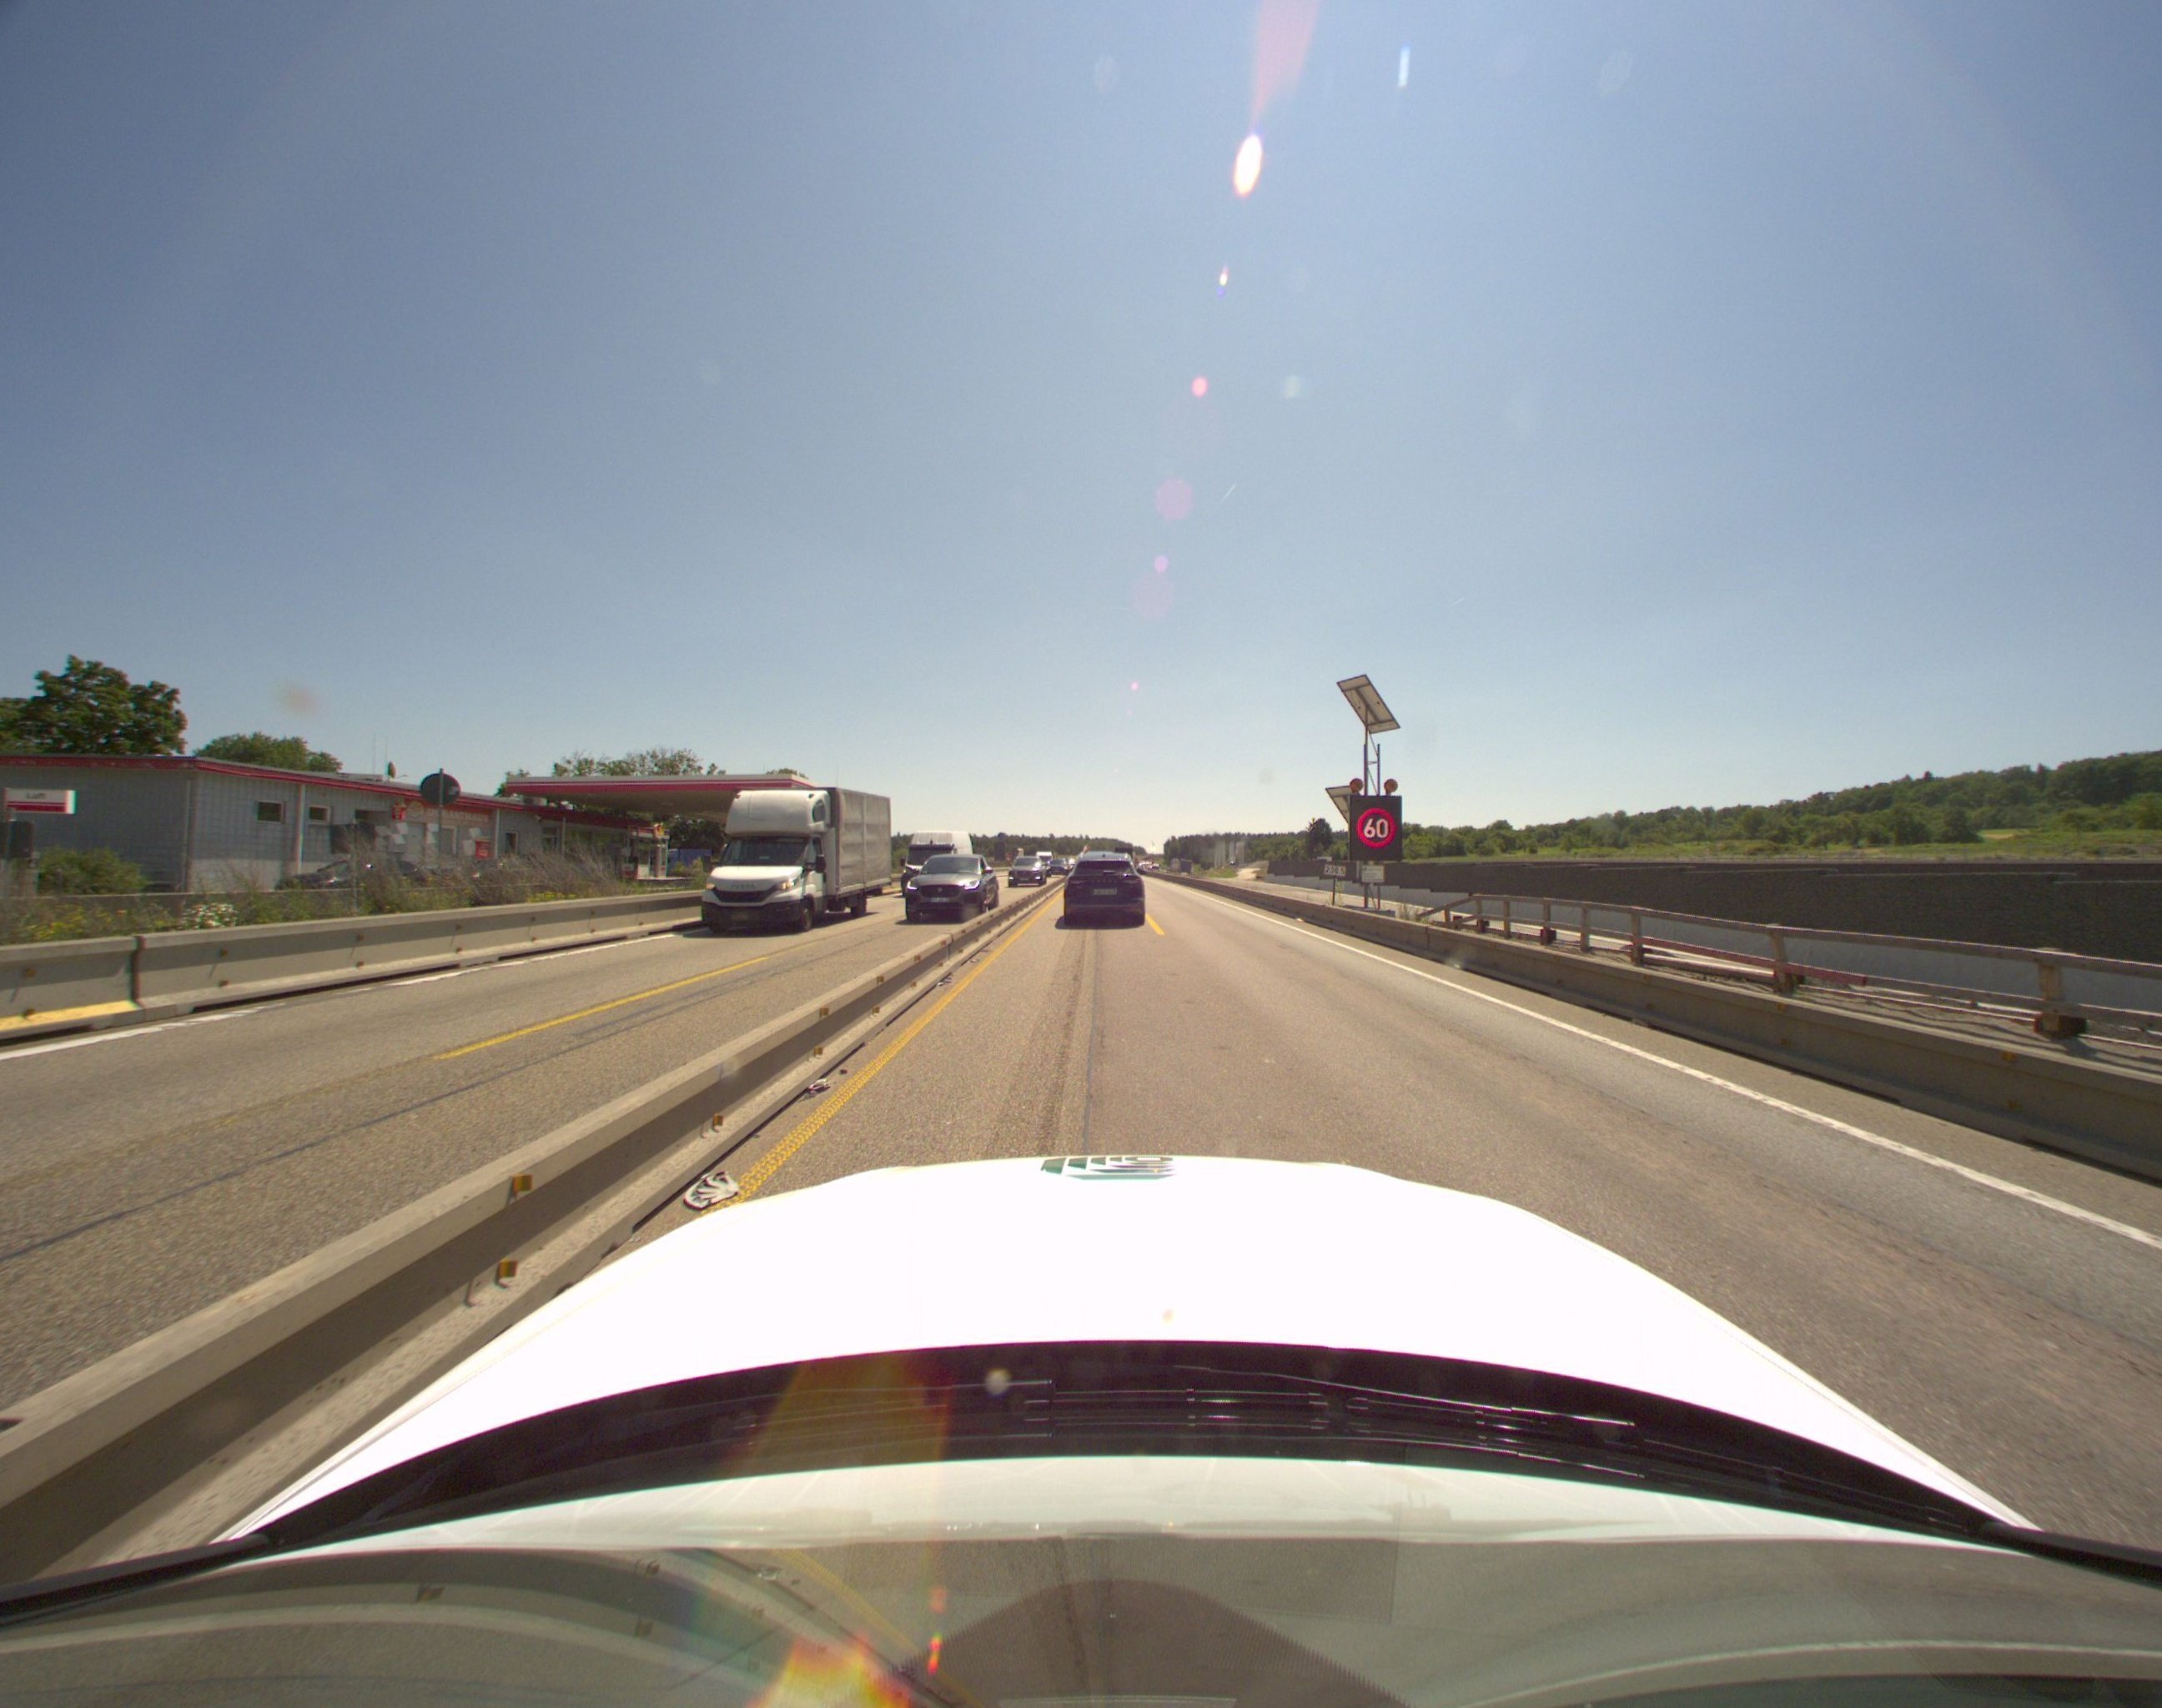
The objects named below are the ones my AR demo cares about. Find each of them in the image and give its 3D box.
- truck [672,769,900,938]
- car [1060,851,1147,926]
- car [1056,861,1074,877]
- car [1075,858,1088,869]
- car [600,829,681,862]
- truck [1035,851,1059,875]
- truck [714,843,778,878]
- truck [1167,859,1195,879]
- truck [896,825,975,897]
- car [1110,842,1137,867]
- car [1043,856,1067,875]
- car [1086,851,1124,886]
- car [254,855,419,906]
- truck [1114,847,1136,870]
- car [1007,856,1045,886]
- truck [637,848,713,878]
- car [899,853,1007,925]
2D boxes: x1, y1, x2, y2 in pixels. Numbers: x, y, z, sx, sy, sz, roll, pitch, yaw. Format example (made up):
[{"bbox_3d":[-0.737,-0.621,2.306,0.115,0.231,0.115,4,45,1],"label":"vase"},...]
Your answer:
[{"bbox_3d":[-6.653,-0.022,19.956,2.486,3.292,8.118,0,0,1],"label":"truck"},{"bbox_3d":[0.554,0.734,19.324,1.835,1.582,4.002,-1,0,2],"label":"car"},{"bbox_3d":[-1.817,1.689,93.854,1.900,1.804,5.082,0,0,1],"label":"car"},{"bbox_3d":[0.160,1.427,125.371,1.897,1.608,4.001,0,0,1],"label":"car"},{"bbox_3d":[-24.691,-0.449,45.838,1.745,1.410,4.318,12,0,3],"label":"car"},{"bbox_3d":[-4.257,1.178,102.498,2.471,2.824,8.130,0,-1,1],"label":"truck"},{"bbox_3d":[-39.351,0.836,95.806,3.120,3.985,6.385,-1,-1,28],"label":"truck"},{"bbox_3d":[24.174,3.679,196.657,3.445,4.220,10.431,5,-1,24],"label":"truck"},{"bbox_3d":[-6.102,0.286,35.038,2.232,2.786,6.491,0,0,0],"label":"truck"},{"bbox_3d":[7.588,0.154,144.552,3.416,4.101,9.221,4,-1,10],"label":"car"},{"bbox_3d":[-2.219,0.977,71.223,1.838,1.641,4.001,0,0,1],"label":"car"},{"bbox_3d":[1.338,0.827,46.500,1.987,1.844,3.999,2,-1,0],"label":"car"},{"bbox_3d":[-24.396,0.821,26.889,1.640,1.355,4.001,4,1,1],"label":"car"},{"bbox_3d":[5.595,0.567,104.608,2.662,2.945,5.623,0,0,2],"label":"truck"},{"bbox_3d":[-2.962,0.897,44.825,1.933,1.611,3.997,0,0,-2],"label":"car"},{"bbox_3d":[-43.329,0.995,87.255,2.794,3.064,7.160,-1,-1,23],"label":"truck"},{"bbox_3d":[-3.194,0.824,21.294,1.935,1.658,4.746,-1,0,1],"label":"car"}]
